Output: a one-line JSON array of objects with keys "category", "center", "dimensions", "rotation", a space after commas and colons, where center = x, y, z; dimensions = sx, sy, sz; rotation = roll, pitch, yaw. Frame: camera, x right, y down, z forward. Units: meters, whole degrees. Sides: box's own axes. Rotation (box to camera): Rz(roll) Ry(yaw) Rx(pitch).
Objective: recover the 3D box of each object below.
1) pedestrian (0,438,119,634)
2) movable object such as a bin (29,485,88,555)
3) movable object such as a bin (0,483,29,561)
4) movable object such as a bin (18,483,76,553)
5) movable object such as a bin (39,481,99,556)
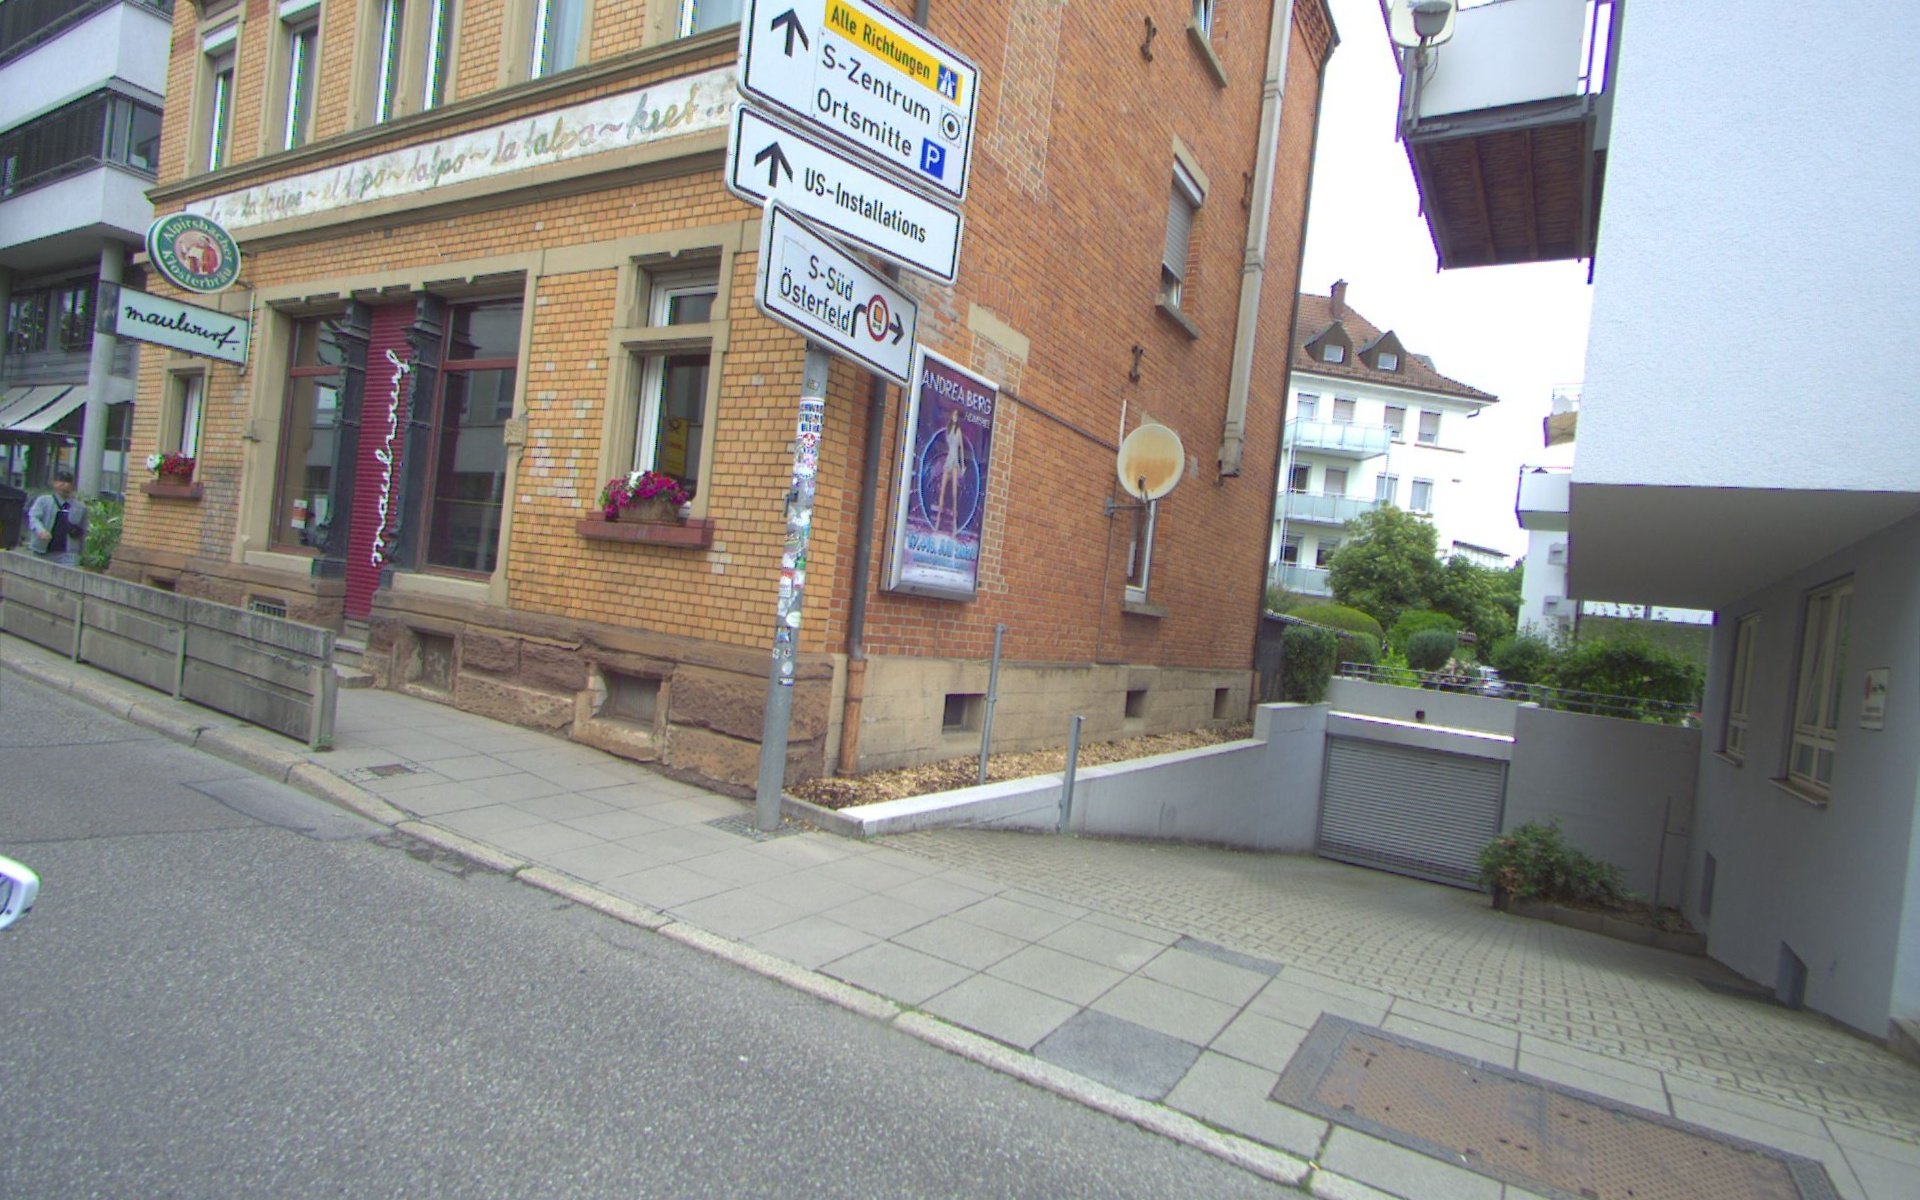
[{"category": "pedestrian", "center": [-9.968, -0.694, 11.131], "dimensions": [0.665, 2.039, 0.694], "rotation": [7, 1, 30]}, {"category": "movable object such as a bin", "center": [-20.887, -1.855, 23.315], "dimensions": [0.720, 1.510, 0.820], "rotation": [6, 2, 33]}, {"category": "movable object such as a bin", "center": [-19.200, -1.592, 19.730], "dimensions": [1.421, 1.489, 0.944], "rotation": [7, 2, 29]}, {"category": "movable object such as a bin", "center": [-21.511, -1.927, 23.714], "dimensions": [0.720, 1.524, 0.820], "rotation": [6, 2, 33]}, {"category": "movable object such as a bin", "center": [-20.270, -1.843, 22.895], "dimensions": [0.720, 1.611, 0.820], "rotation": [6, 3, 33]}]
